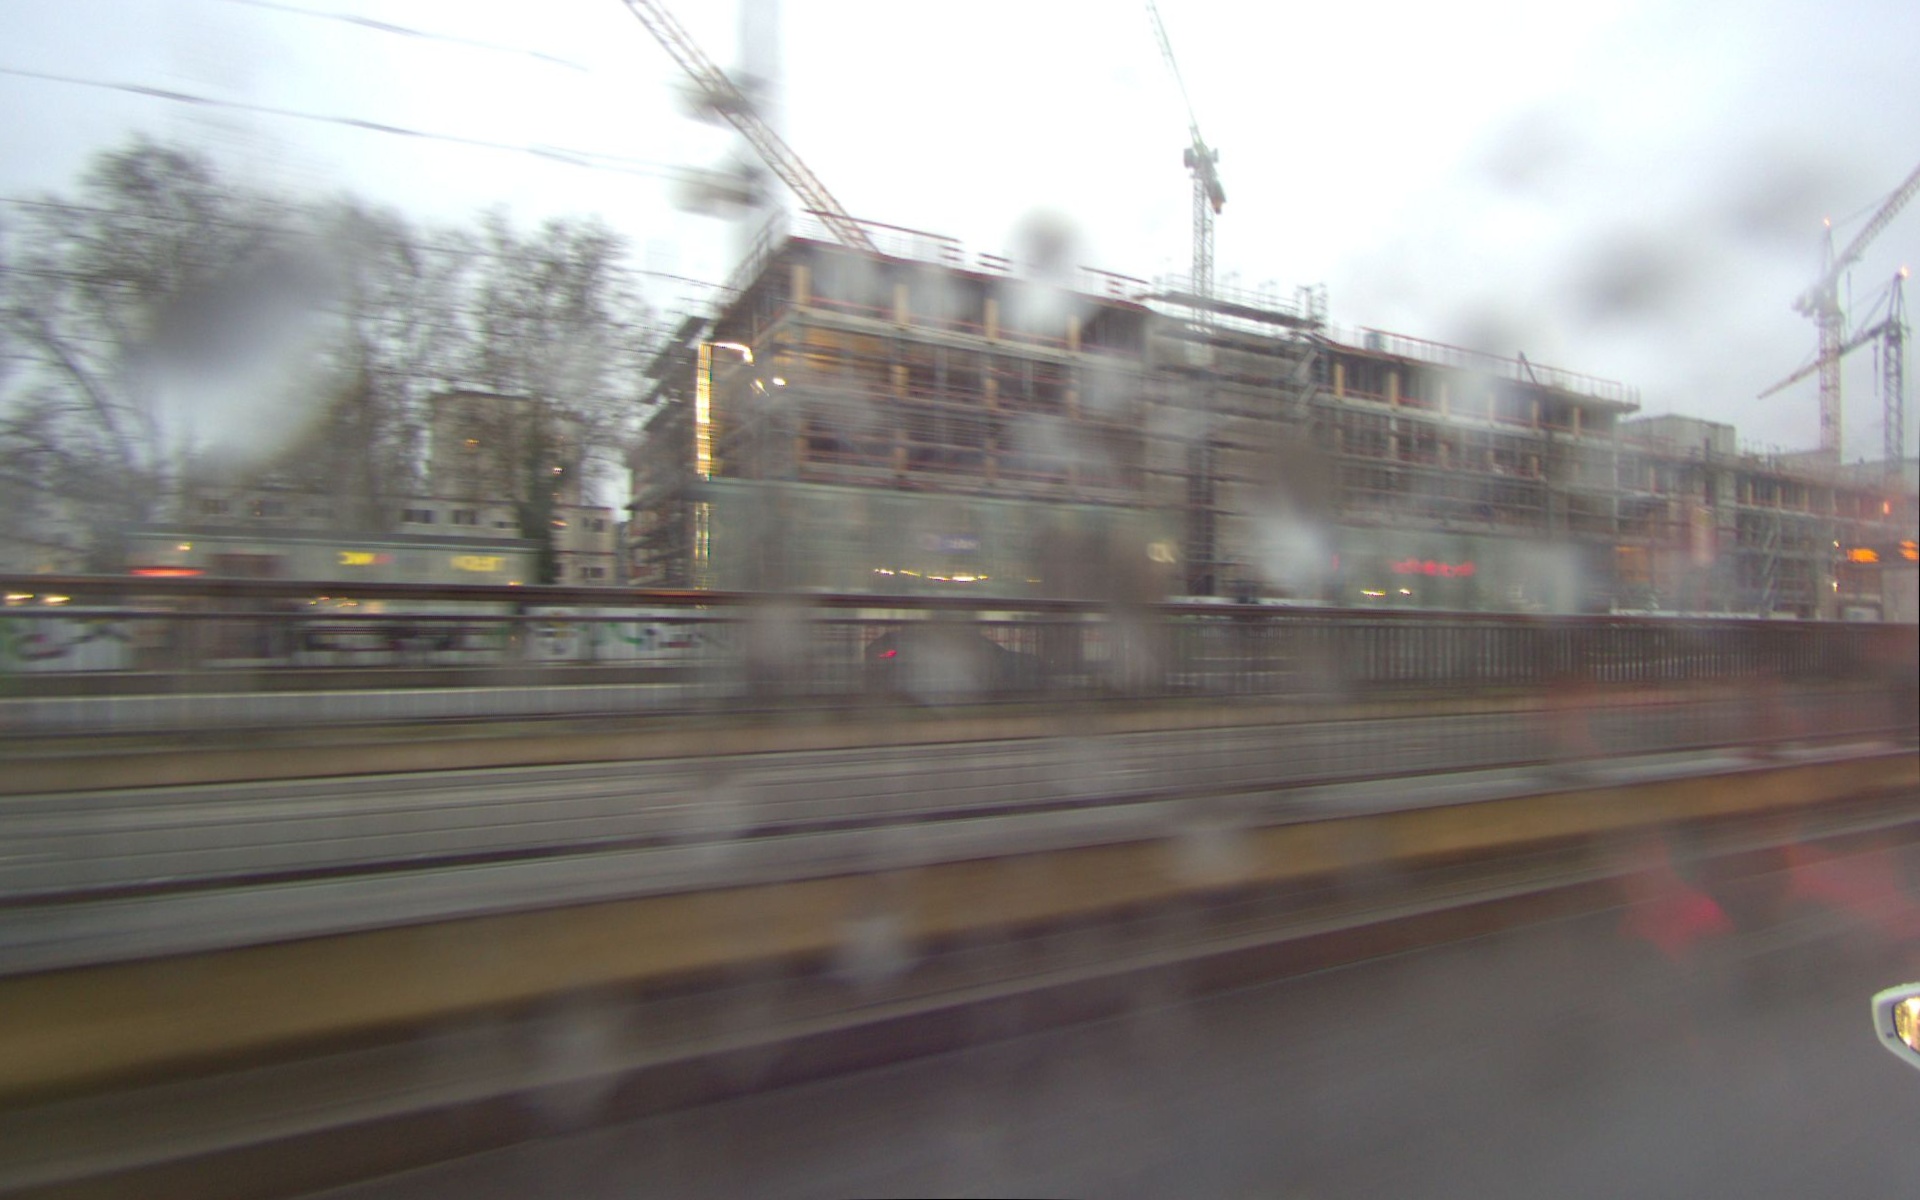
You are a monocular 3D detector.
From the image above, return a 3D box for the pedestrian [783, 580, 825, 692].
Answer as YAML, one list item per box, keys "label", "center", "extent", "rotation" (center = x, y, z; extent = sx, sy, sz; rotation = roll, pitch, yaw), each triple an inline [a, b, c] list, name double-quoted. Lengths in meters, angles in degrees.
- label: "pedestrian"
  center: [-2.270, 0.519, 14.672]
  extent: [0.571, 1.588, 0.544]
  rotation: [1, 0, -8]

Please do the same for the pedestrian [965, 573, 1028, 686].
- label: "pedestrian"
  center: [0.515, 0.420, 14.291]
  extent: [0.728, 1.571, 0.584]
  rotation: [1, 0, -17]

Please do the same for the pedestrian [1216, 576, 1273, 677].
- label: "pedestrian"
  center: [4.954, 0.459, 17.509]
  extent: [0.728, 1.724, 0.584]
  rotation: [1, 0, -17]

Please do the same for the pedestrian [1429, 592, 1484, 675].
- label: "pedestrian"
  center: [9.590, 0.642, 19.404]
  extent: [0.728, 1.571, 0.584]
  rotation: [1, 0, -17]

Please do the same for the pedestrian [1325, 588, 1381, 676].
- label: "pedestrian"
  center: [7.149, 0.585, 18.285]
  extent: [0.728, 1.571, 0.584]
  rotation: [1, 0, -17]

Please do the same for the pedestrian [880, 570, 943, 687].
- label: "pedestrian"
  center: [-0.671, 0.394, 13.863]
  extent: [0.728, 1.571, 0.584]
  rotation: [1, 0, -17]
